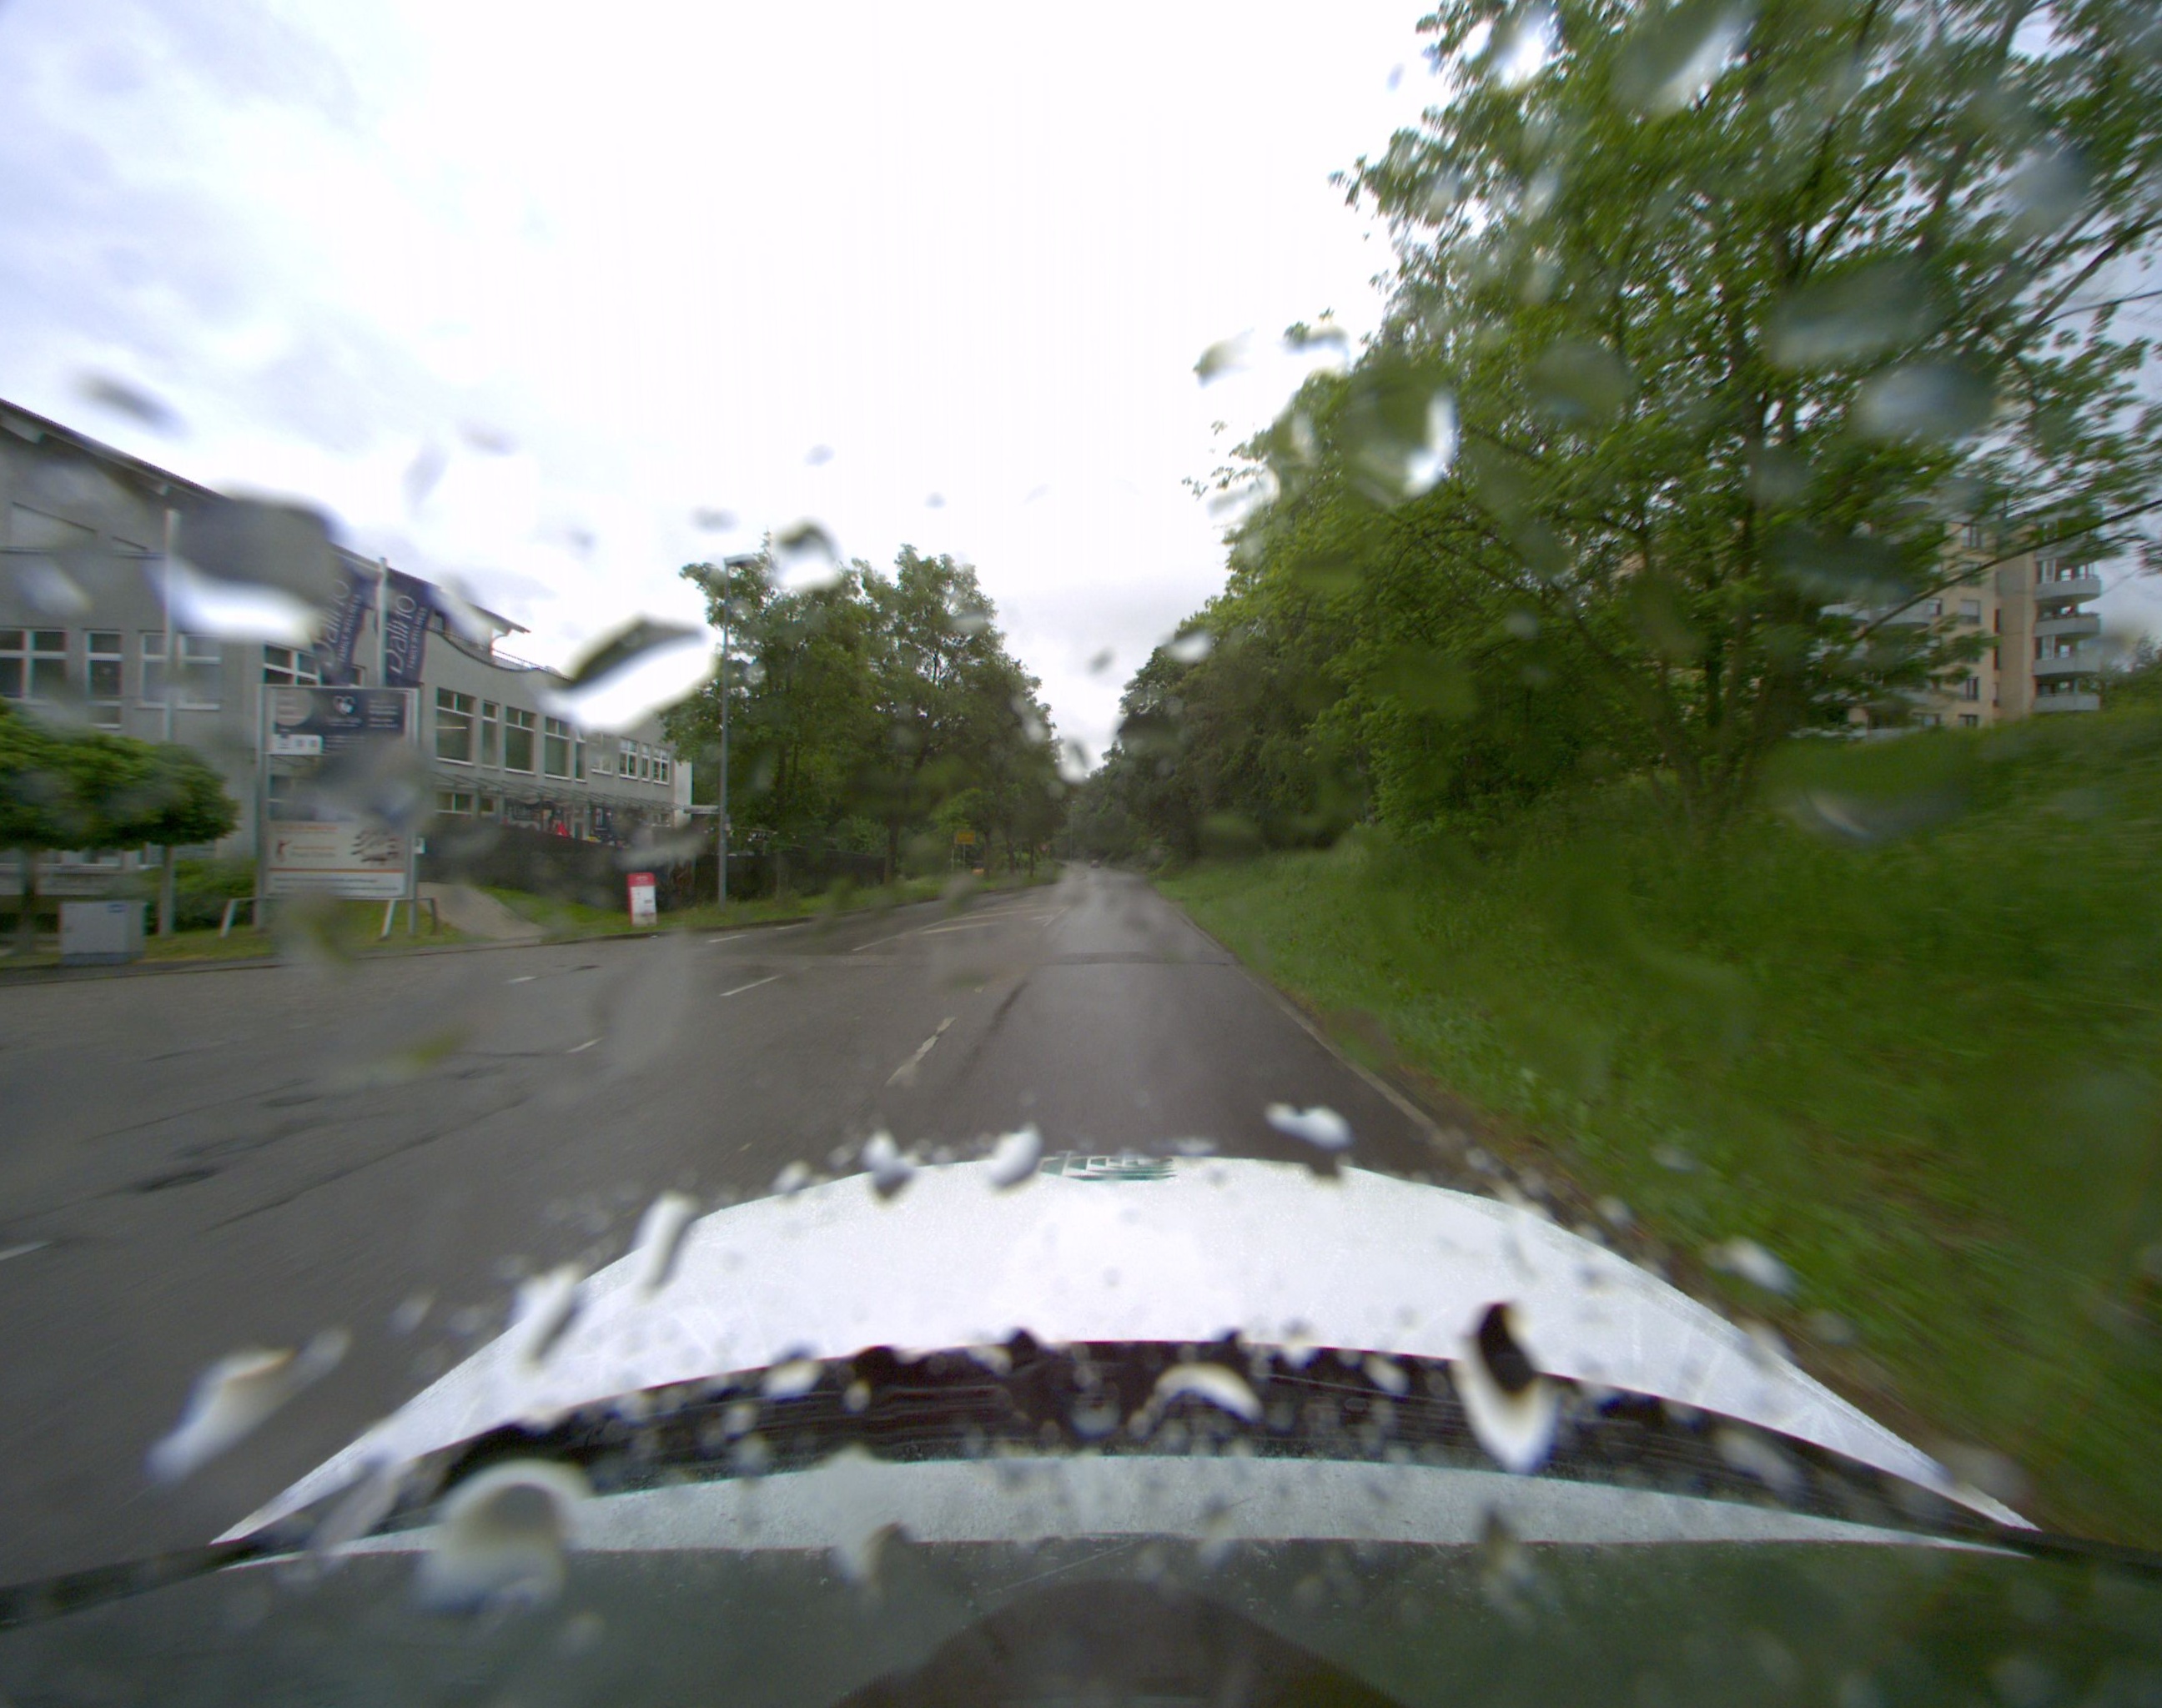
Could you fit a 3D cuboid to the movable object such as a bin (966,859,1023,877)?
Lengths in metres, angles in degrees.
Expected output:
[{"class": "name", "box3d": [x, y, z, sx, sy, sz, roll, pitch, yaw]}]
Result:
[{"class": "movable object such as a bin", "box3d": [-9.824, 1.588, 93.258, 1.828, 1.908, 7.958, -1, -1, 34]}]

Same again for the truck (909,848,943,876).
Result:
[{"class": "truck", "box3d": [-14.283, 0.702, 75.272, 1.987, 2.458, 5.223, 1, 0, 1]}]

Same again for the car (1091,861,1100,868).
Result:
[{"class": "car", "box3d": [3.061, 2.199, 170.087, 1.730, 1.510, 4.000, -2, 0, 1]}]
